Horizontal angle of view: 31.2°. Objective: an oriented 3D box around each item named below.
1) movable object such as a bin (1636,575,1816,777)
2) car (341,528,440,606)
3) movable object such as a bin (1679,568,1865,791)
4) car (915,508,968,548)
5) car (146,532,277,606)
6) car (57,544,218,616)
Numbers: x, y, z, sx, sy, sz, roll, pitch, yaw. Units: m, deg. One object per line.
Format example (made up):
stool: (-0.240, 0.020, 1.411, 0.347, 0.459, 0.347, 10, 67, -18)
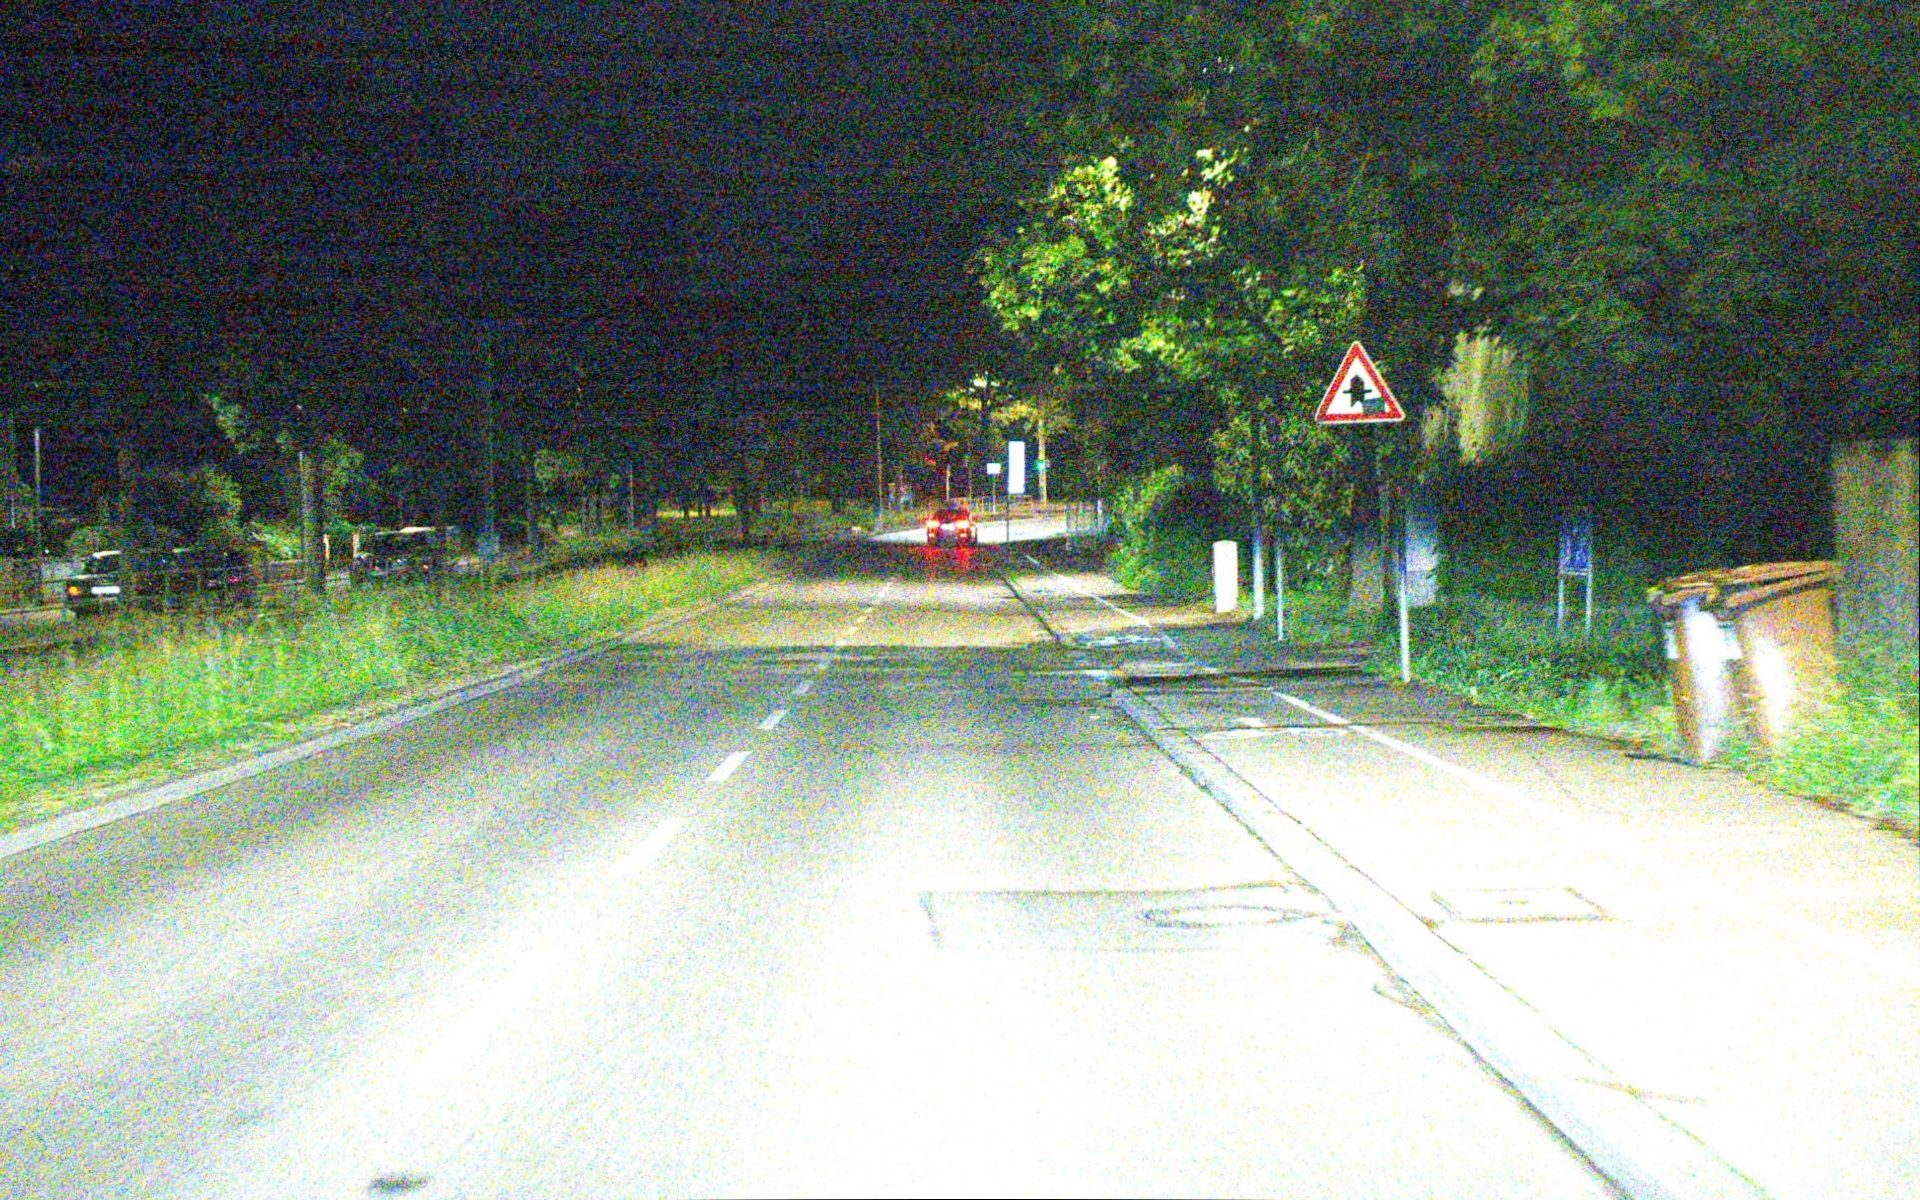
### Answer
movable object such as a bin: (4.371, 0.424, 19.661, 0.857, 1.115, 0.840, -1, 1, 2)
car: (-16.360, -0.975, 98.921, 2.091, 2.006, 4.000, -5, 1, -1)
movable object such as a bin: (4.424, 0.423, 18.785, 0.833, 1.177, 0.828, -1, 1, 2)
car: (-0.765, -2.985, 142.552, 2.161, 1.577, 4.013, 0, 0, 0)
car: (-16.110, -0.691, 74.154, 1.993, 1.525, 4.000, -1, 1, -1)
car: (-16.301, -0.415, 68.412, 1.993, 1.333, 5.432, -1, 1, -1)
